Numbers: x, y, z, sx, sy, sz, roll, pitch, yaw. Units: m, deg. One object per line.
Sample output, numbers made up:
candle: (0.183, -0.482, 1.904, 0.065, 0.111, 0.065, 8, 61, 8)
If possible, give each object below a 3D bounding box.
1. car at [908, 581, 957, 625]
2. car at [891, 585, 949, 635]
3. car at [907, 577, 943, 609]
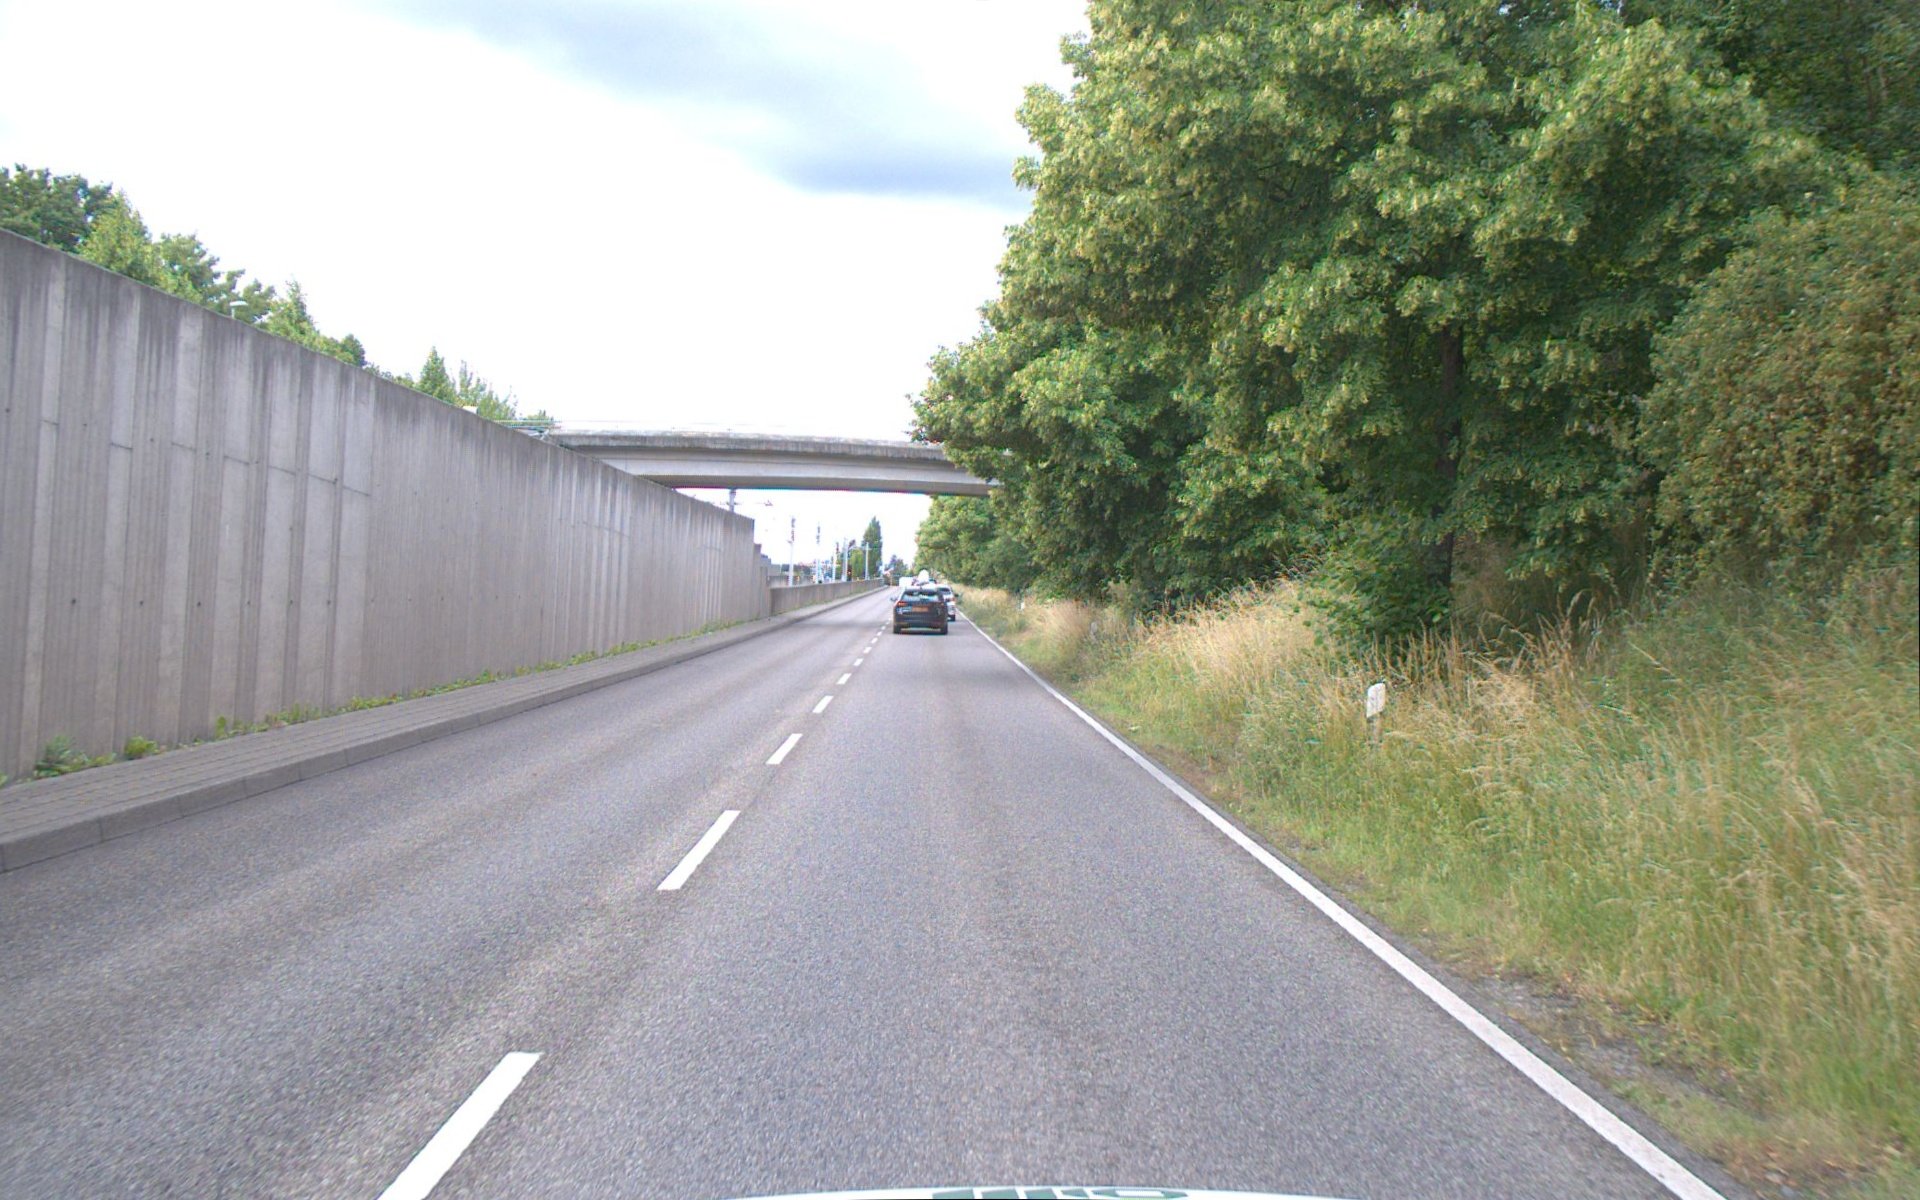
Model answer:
car: (-1.156, 0.107, 69.531, 1.953, 1.783, 3.999, 1, 0, -1)
car: (-1.265, 0.307, 52.760, 1.745, 1.493, 3.999, 1, 0, -1)
car: (-1.982, -0.381, 94.157, 1.953, 1.771, 3.999, 1, 0, -1)
